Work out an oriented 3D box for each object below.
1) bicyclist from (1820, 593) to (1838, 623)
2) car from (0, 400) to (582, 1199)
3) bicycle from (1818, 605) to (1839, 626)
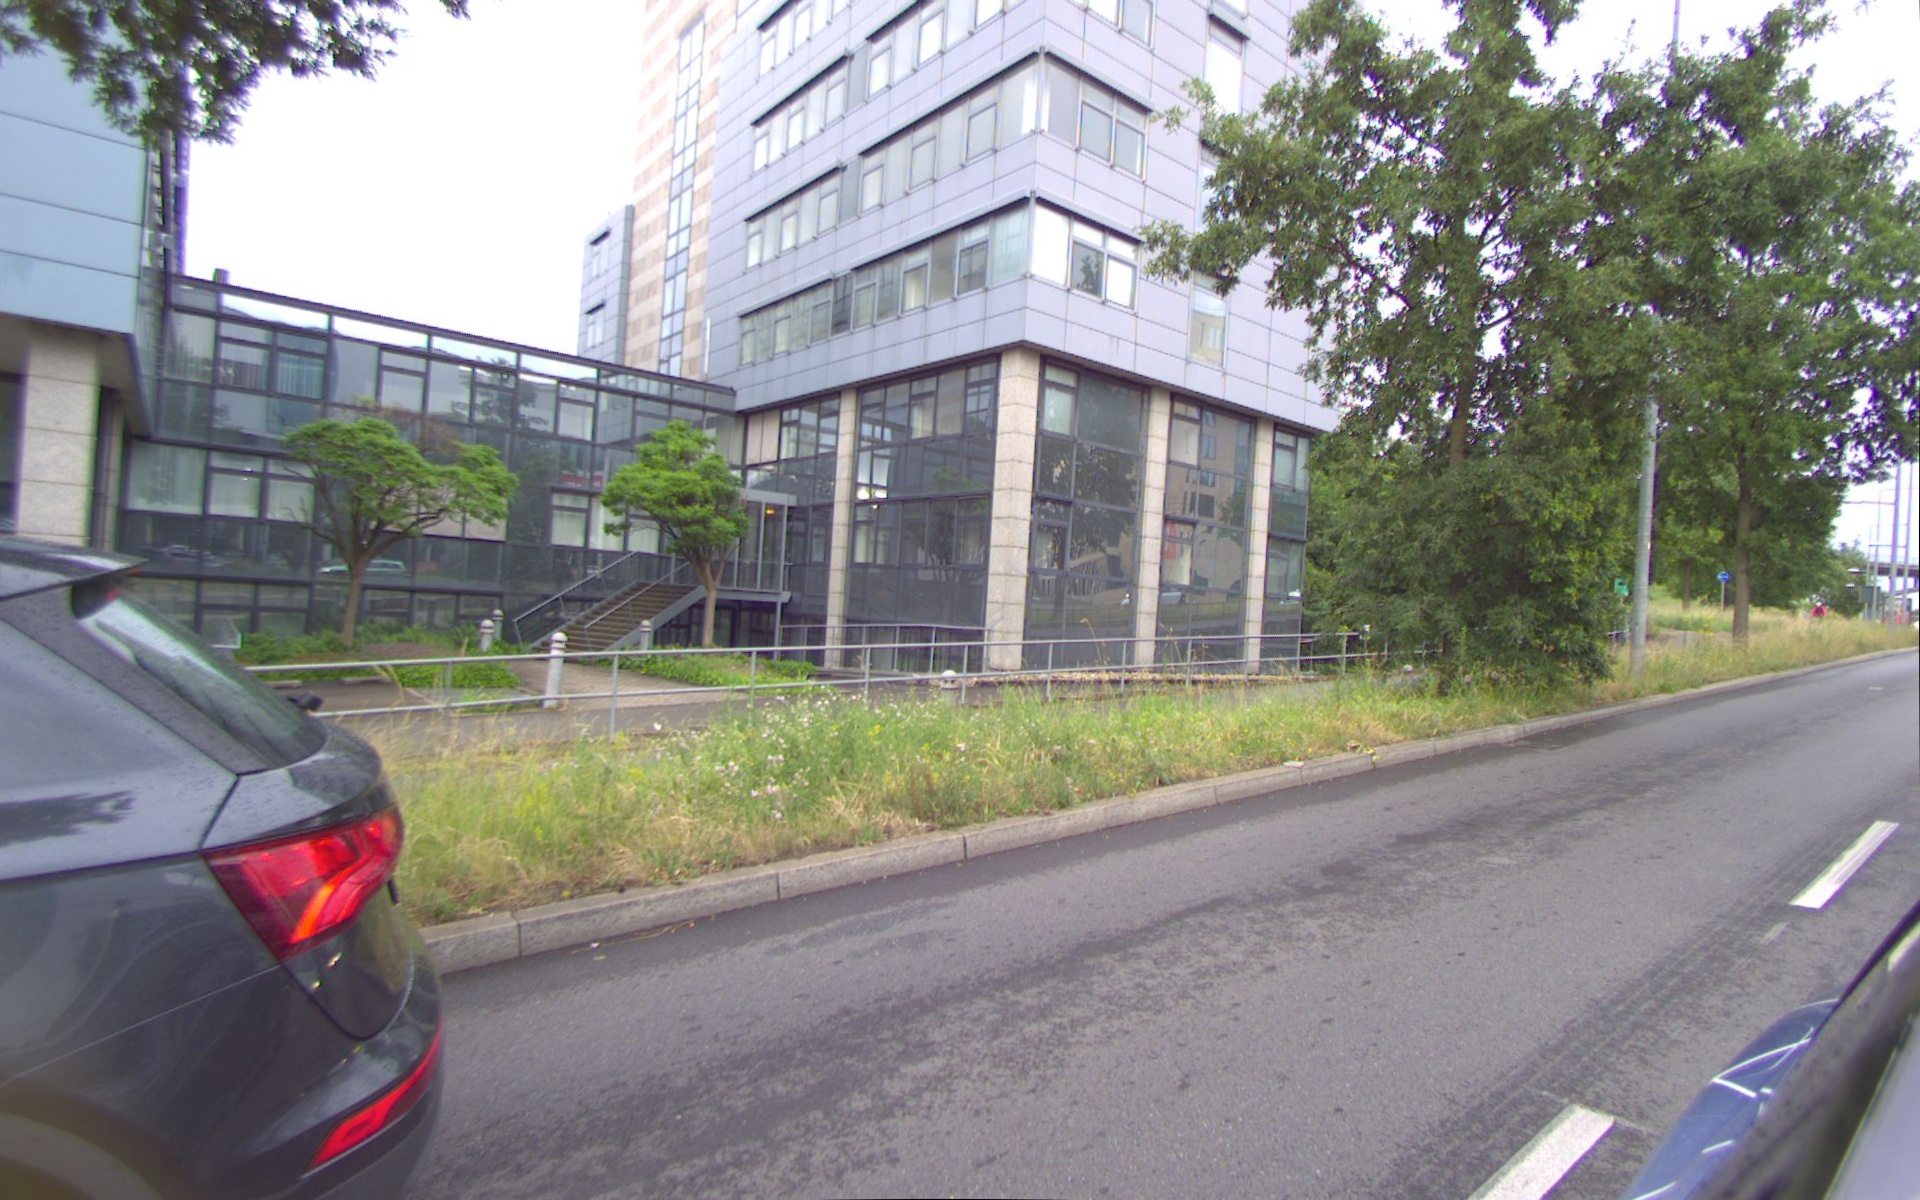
[{"bbox_3d":[46.975,0.451,54.697,0.839,1.599,0.647,1,-1,-41],"label":"bicyclist"},{"bbox_3d":[-2.913,0.541,1.020,4.392,1.633,1.821,0,1,-41],"label":"car"},{"bbox_3d":[46.962,0.839,54.710,1.872,1.102,0.581,1,-1,-41],"label":"bicycle"}]
